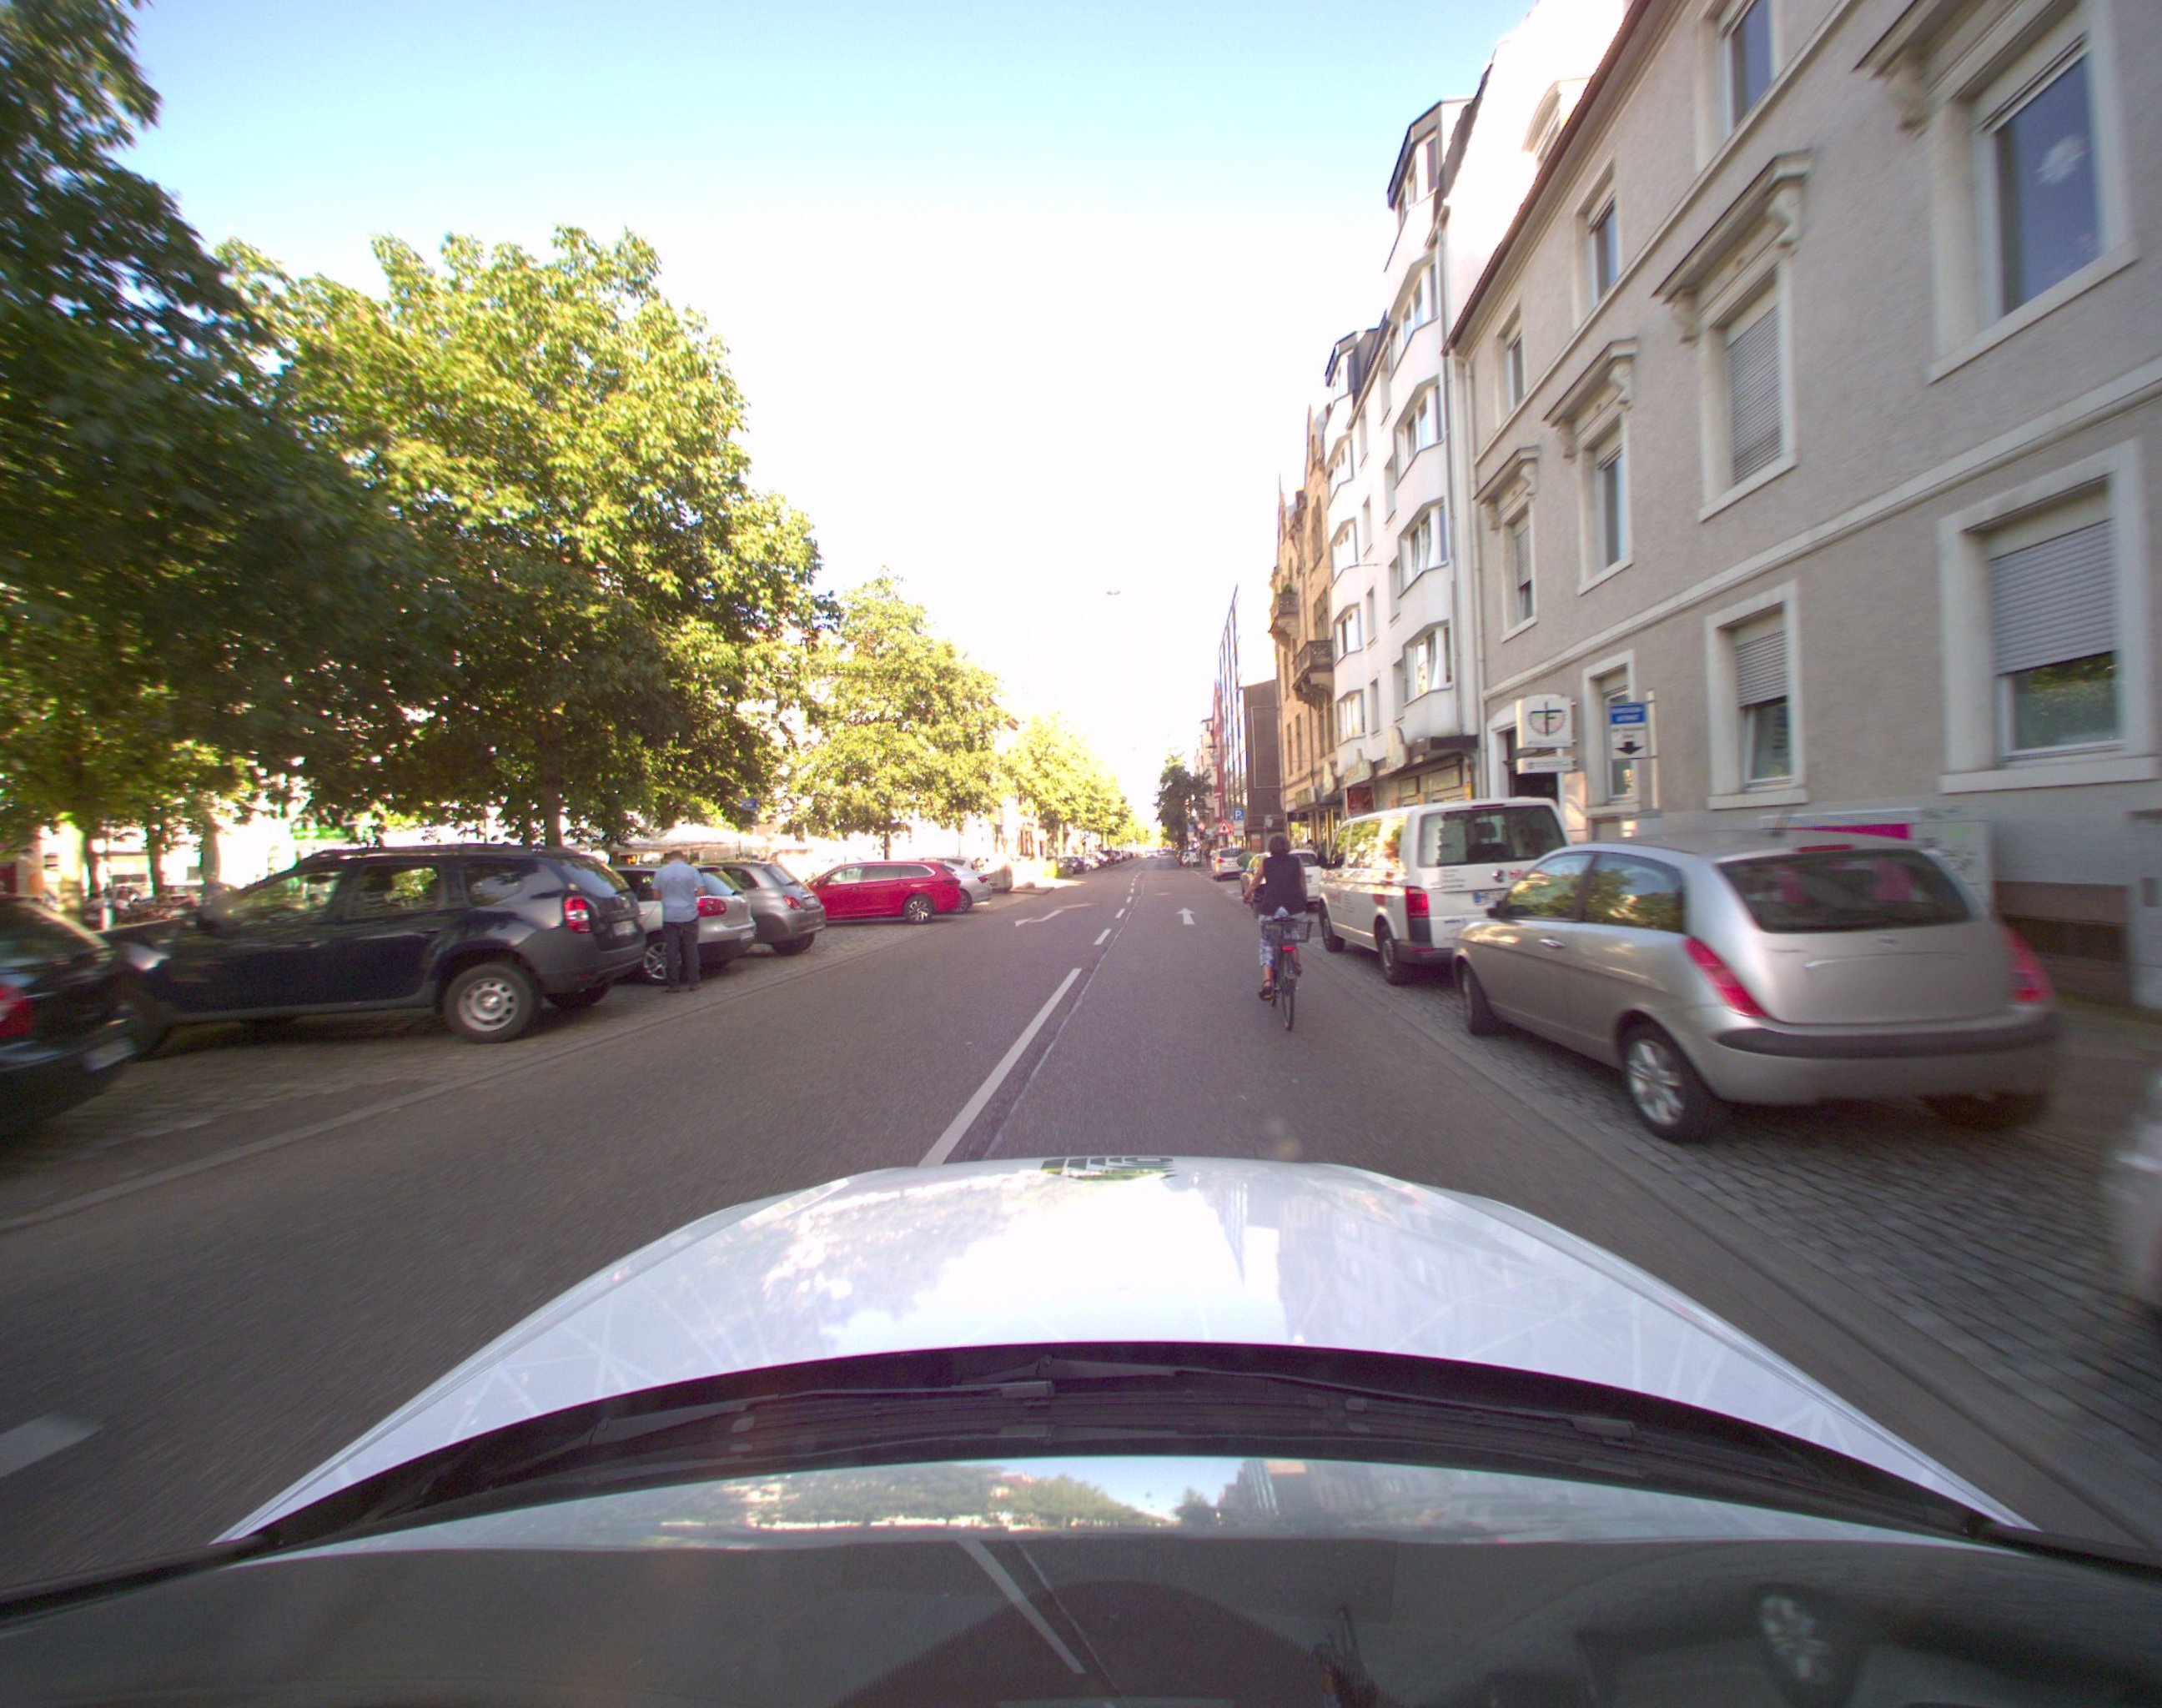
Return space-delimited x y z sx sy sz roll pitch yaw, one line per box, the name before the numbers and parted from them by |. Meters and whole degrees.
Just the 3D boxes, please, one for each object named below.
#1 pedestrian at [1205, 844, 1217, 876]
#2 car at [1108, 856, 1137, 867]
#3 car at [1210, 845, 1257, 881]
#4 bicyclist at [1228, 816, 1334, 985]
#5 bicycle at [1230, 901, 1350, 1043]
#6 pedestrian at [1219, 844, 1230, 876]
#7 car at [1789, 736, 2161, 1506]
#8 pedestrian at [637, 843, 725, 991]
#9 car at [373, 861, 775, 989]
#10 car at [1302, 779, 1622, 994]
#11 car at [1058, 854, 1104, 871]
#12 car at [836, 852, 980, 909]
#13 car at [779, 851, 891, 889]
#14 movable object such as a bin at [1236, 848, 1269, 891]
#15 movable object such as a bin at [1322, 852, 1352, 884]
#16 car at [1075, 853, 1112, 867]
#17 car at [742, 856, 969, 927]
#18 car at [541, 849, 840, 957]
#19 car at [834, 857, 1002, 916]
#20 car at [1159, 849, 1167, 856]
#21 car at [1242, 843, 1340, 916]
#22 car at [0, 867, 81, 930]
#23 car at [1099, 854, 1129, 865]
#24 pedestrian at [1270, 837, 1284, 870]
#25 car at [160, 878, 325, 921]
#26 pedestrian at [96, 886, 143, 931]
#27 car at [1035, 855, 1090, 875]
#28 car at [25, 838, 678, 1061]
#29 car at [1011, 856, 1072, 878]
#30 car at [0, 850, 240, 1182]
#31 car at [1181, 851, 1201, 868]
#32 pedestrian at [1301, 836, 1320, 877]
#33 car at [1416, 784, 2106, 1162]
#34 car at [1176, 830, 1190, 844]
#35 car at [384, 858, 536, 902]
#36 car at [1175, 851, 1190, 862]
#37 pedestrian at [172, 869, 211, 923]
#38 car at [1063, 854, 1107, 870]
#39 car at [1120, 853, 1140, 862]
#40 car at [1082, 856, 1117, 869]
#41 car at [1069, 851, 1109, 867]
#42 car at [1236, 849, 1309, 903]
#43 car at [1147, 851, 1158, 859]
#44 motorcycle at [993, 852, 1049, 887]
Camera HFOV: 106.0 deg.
pedestrian | 7.228 0.350 45.228 0.611 1.735 0.635 -1 -1 7
car | 6.180 1.130 121.142 3.963 1.508 2.005 0 -1 9
car | 7.612 0.473 41.113 1.889 1.675 4.832 -1 -1 6
bicyclist | 1.819 0.408 7.569 0.782 1.453 1.097 -1 -1 5
bicycle | 1.826 0.970 7.512 0.649 0.958 2.702 -1 -1 5
pedestrian | 7.864 0.338 44.689 0.510 1.780 0.613 -1 -1 4
car | 3.154 0.573 0.351 1.736 1.739 4.968 -1 -1 6
pedestrian | -4.619 0.709 9.440 0.697 1.649 0.646 -1 -1 -1
car | -6.276 0.843 10.506 3.979 1.448 1.800 0 -1 -4
car | 4.341 0.310 10.388 1.984 2.005 5.124 -2 0 4
car | 0.019 0.801 75.660 3.966 1.508 2.004 -1 -1 6
car | -5.198 0.760 24.487 4.002 1.586 1.818 0 -1 -22
car | -12.329 0.799 40.801 5.283 1.800 2.148 0 -1 -21
movable object such as a bin | 6.399 0.554 30.466 1.066 1.457 1.497 -5 0 11
movable object such as a bin | 9.366 0.517 29.807 0.872 1.123 0.830 -1 -1 5
car | 1.456 0.707 91.696 3.966 1.508 1.898 -1 -1 6
car | -5.162 0.814 18.915 4.848 1.488 1.754 0 -1 -18
car | -6.189 0.760 13.219 3.971 1.598 1.751 -1 -1 2
car | -4.411 0.834 22.027 4.238 1.477 1.723 0 -1 -22
car | 21.208 -0.387 210.565 1.860 1.556 4.007 -1 -1 6
car | 5.065 0.610 20.091 1.710 1.515 3.588 -4 -1 5
car | -41.815 1.654 30.434 5.350 2.314 1.988 0 -1 -18
car | 4.658 0.798 113.490 3.963 1.508 2.005 0 -1 9
pedestrian | 11.302 -0.018 46.955 0.639 1.871 0.631 -1 -1 28
car | -37.985 2.023 37.039 4.867 1.804 1.899 0 -1 -16
pedestrian | -27.554 1.555 23.348 0.669 1.236 0.558 0 -1 -2
car | -1.413 0.858 63.004 3.966 1.508 2.004 -1 -1 6
car | -6.183 0.713 7.505 3.988 1.668 1.993 0 0 -11
car | -2.769 0.912 57.635 3.966 1.508 2.004 -1 -1 6
car | -6.837 0.738 3.546 4.011 1.470 1.857 0 -1 -29
car | 11.109 0.551 82.211 1.982 1.618 4.019 0 -1 8
pedestrian | 10.037 0.114 35.650 0.605 1.788 0.684 -3 -1 4
car | 3.686 0.558 5.413 1.690 1.604 3.763 -2 -1 7
car | 15.837 -2.574 126.449 1.984 2.013 4.006 -3 0 5
car | -30.186 1.219 39.828 5.596 2.014 1.805 0 -1 -21
car | 14.212 0.371 114.419 1.984 1.453 4.006 -1 0 5
pedestrian | -25.989 1.227 23.796 0.665 1.547 0.561 -1 -1 23
car | 0.441 0.752 77.985 3.966 1.508 2.004 -1 -1 6
car | 10.625 0.728 177.834 3.957 2.014 2.008 -1 -1 15
car | 2.245 0.971 96.268 3.967 1.508 2.003 -1 -1 5
car | 0.897 0.507 85.508 3.966 1.674 2.093 -1 -1 6
car | 5.551 0.618 23.999 1.669 1.448 3.792 -1 -1 6
car | 13.984 0.256 158.250 1.983 1.556 4.007 -1 -1 6
motorcycle | -2.936 0.743 39.610 2.449 1.604 1.005 -3 -1 24
